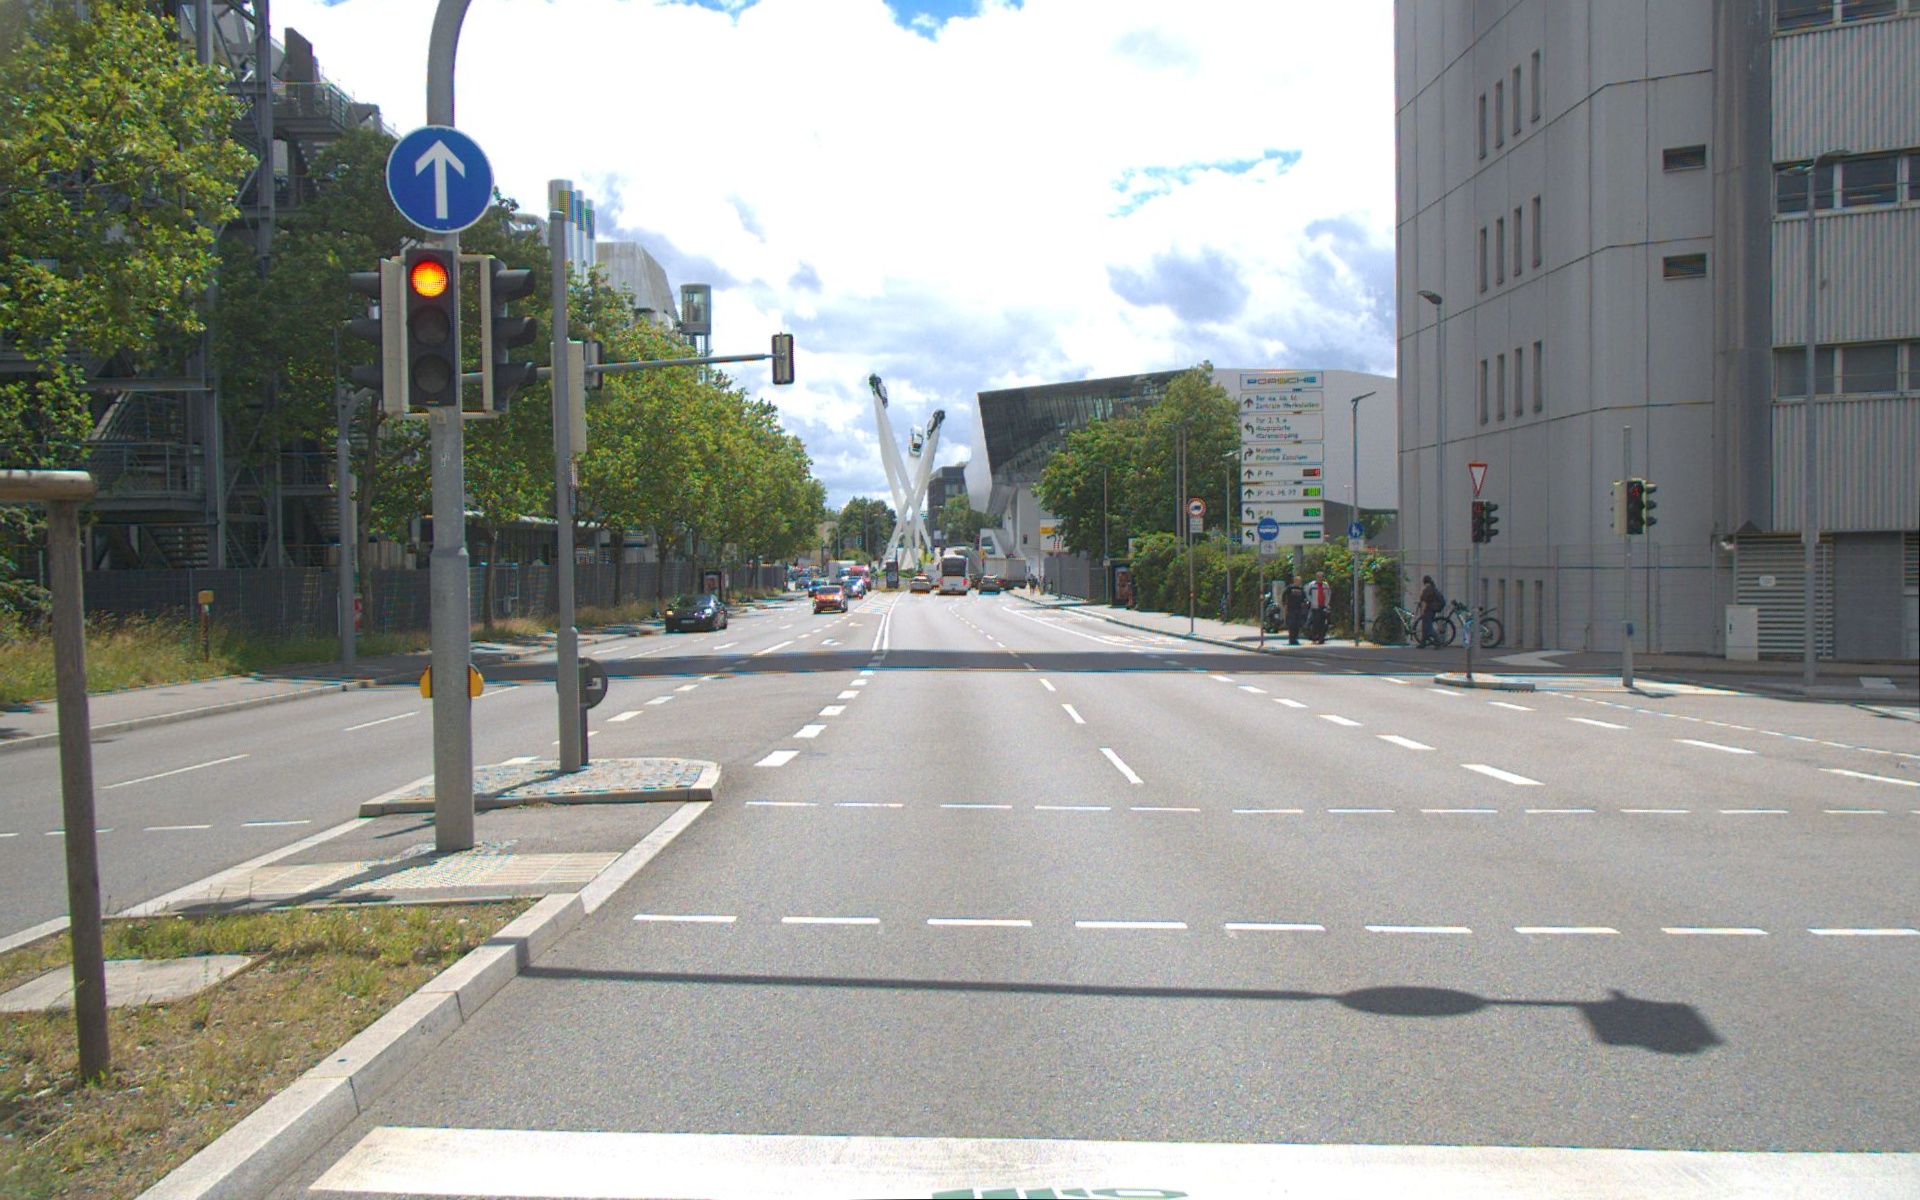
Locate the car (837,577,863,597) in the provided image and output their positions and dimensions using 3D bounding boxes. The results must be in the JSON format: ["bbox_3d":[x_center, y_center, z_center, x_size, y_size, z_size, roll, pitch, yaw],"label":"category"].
[{"bbox_3d":[-8.348,-1.006,125.674,1.733,1.445,3.701,-2,0,0],"label":"car"}]

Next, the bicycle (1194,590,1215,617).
[{"bbox_3d":[9.667,0.150,65.402,0.410,1.040,1.910,1,0,-5],"label":"bicycle"}]

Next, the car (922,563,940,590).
[{"bbox_3d":[-3.025,-2.425,171.192,1.806,2.669,3.998,1,0,-2],"label":"car"}]

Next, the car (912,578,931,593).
[{"bbox_3d":[-3.426,-1.324,148.724,1.525,1.295,3.701,-2,0,1],"label":"car"}]

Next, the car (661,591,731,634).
[{"bbox_3d":[-10.194,0.450,64.138,1.878,1.514,4.772,-2,1,0],"label":"car"}]

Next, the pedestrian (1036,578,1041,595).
[{"bbox_3d":[6.543,-1.123,137.099,0.378,1.446,0.423,1,-1,0],"label":"pedestrian"}]

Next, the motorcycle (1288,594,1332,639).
[{"bbox_3d":[9.545,0.450,45.155,0.410,1.186,1.951,1,0,-11],"label":"motorcycle"}]

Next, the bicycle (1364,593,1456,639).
[{"bbox_3d":[11.150,0.385,41.026,2.180,1.105,0.475,1,-1,35],"label":"bicycle"}]

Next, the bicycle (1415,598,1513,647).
[{"bbox_3d":[11.854,0.529,38.934,2.149,1.105,0.475,1,-1,35],"label":"bicycle"}]

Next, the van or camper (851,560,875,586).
[{"bbox_3d":[-9.541,-2.659,162.479,2.005,2.509,5.594,0,0,0],"label":"van or camper"}]

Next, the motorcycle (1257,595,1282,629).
[{"bbox_3d":[9.737,0.367,52.142,0.448,1.040,1.913,1,0,1],"label":"motorcycle"}]

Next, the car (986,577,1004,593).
[{"bbox_3d":[3.109,-1.352,146.327,1.525,1.295,3.701,-2,0,1],"label":"car"}]

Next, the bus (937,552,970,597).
[{"bbox_3d":[-0.563,-2.144,144.672,2.730,3.750,6.942,1,0,0],"label":"bus"}]

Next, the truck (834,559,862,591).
[{"bbox_3d":[-12.243,-2.679,181.253,2.538,3.382,7.078,1,0,0],"label":"truck"}]

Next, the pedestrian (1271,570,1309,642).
[{"bbox_3d":[8.492,0.150,42.597,0.631,1.825,0.709,-3,1,-16],"label":"pedestrian"}]

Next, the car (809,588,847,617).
[{"bbox_3d":[-7.046,0.137,88.581,1.733,1.445,3.701,-2,0,0],"label":"car"}]

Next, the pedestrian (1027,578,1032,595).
[{"bbox_3d":[5.788,-1.127,138.147,0.378,1.446,0.423,1,-1,0],"label":"pedestrian"}]

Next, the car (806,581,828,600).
[{"bbox_3d":[-12.437,-0.836,144.267,1.761,1.601,3.998,0,0,-2],"label":"car"}]

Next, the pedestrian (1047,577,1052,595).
[{"bbox_3d":[7.482,-1.168,138.599,0.378,1.446,0.423,1,-1,0],"label":"pedestrian"}]

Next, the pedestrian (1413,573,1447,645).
[{"bbox_3d":[10.965,0.201,38.587,0.643,1.669,0.534,1,-1,27],"label":"pedestrian"}]

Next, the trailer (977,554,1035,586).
[{"bbox_3d":[4.864,-3.082,172.213,3.250,3.047,10.380,1,0,18],"label":"trailer"}]

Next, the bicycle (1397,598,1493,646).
[{"bbox_3d":[11.636,0.528,39.701,2.180,1.105,0.475,1,-1,35],"label":"bicycle"}]

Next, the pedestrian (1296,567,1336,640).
[{"bbox_3d":[9.180,0.090,42.667,0.680,1.825,0.709,-3,1,-16],"label":"pedestrian"}]

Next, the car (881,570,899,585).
[{"bbox_3d":[-6.566,-2.102,155.345,1.525,1.295,3.701,-2,0,0],"label":"car"}]
